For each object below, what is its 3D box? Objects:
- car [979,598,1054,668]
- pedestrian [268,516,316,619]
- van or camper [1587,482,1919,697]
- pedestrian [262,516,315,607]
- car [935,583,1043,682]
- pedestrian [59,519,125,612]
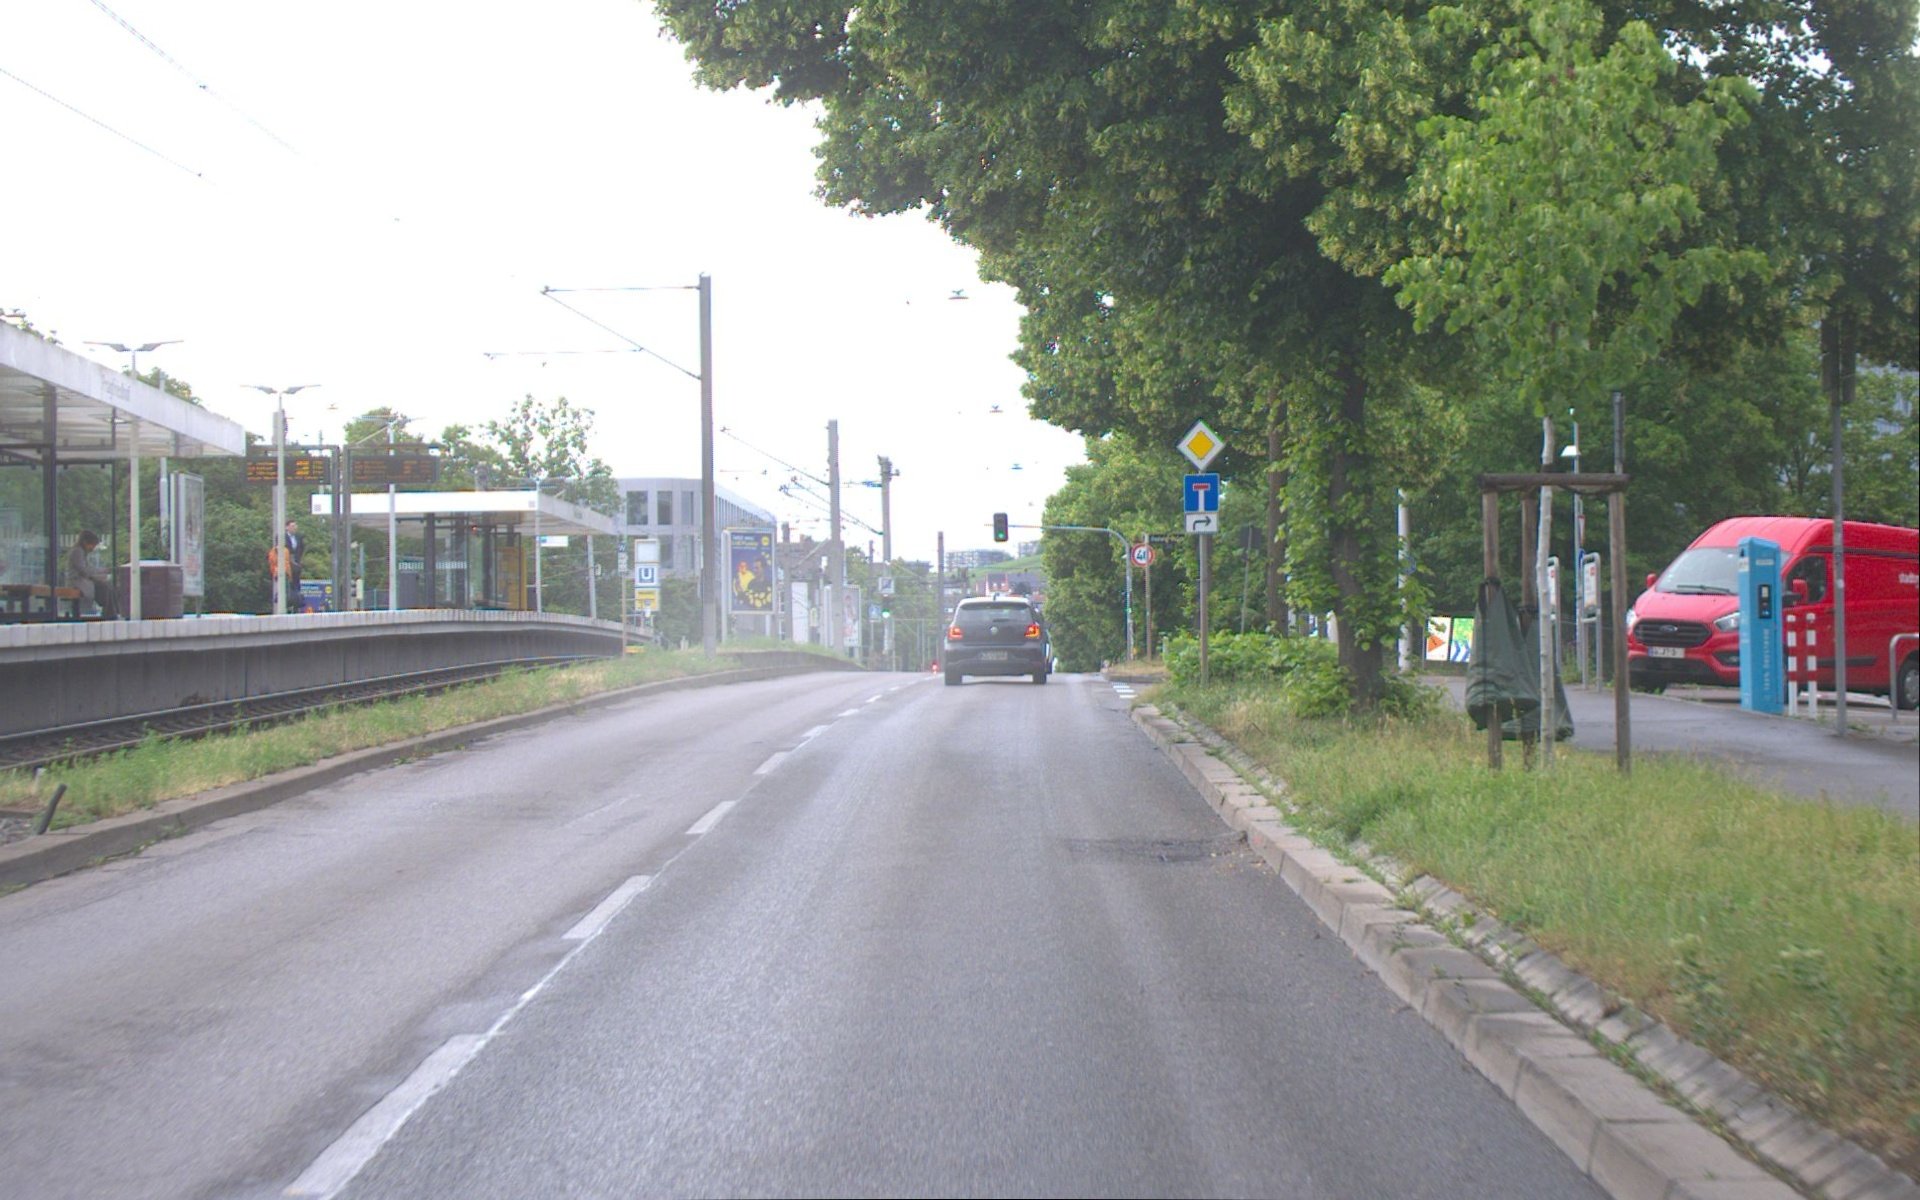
[{"bbox_3d":[1.300,0.736,79.572,1.687,1.512,4.000,0,1,1],"label":"car"},{"bbox_3d":[-12.535,-0.620,64.487,0.743,1.903,0.842,1,2,-20],"label":"pedestrian"},{"bbox_3d":[10.263,-0.081,42.945,2.040,2.398,5.377,4,1,44],"label":"van or camper"},{"bbox_3d":[-12.401,-0.714,63.490,0.794,1.641,0.919,1,2,-20],"label":"pedestrian"},{"bbox_3d":[0.454,0.507,57.102,1.726,1.535,4.000,-1,1,0],"label":"car"},{"bbox_3d":[-11.410,-0.451,45.204,0.710,1.221,0.619,0,0,1],"label":"pedestrian"}]
